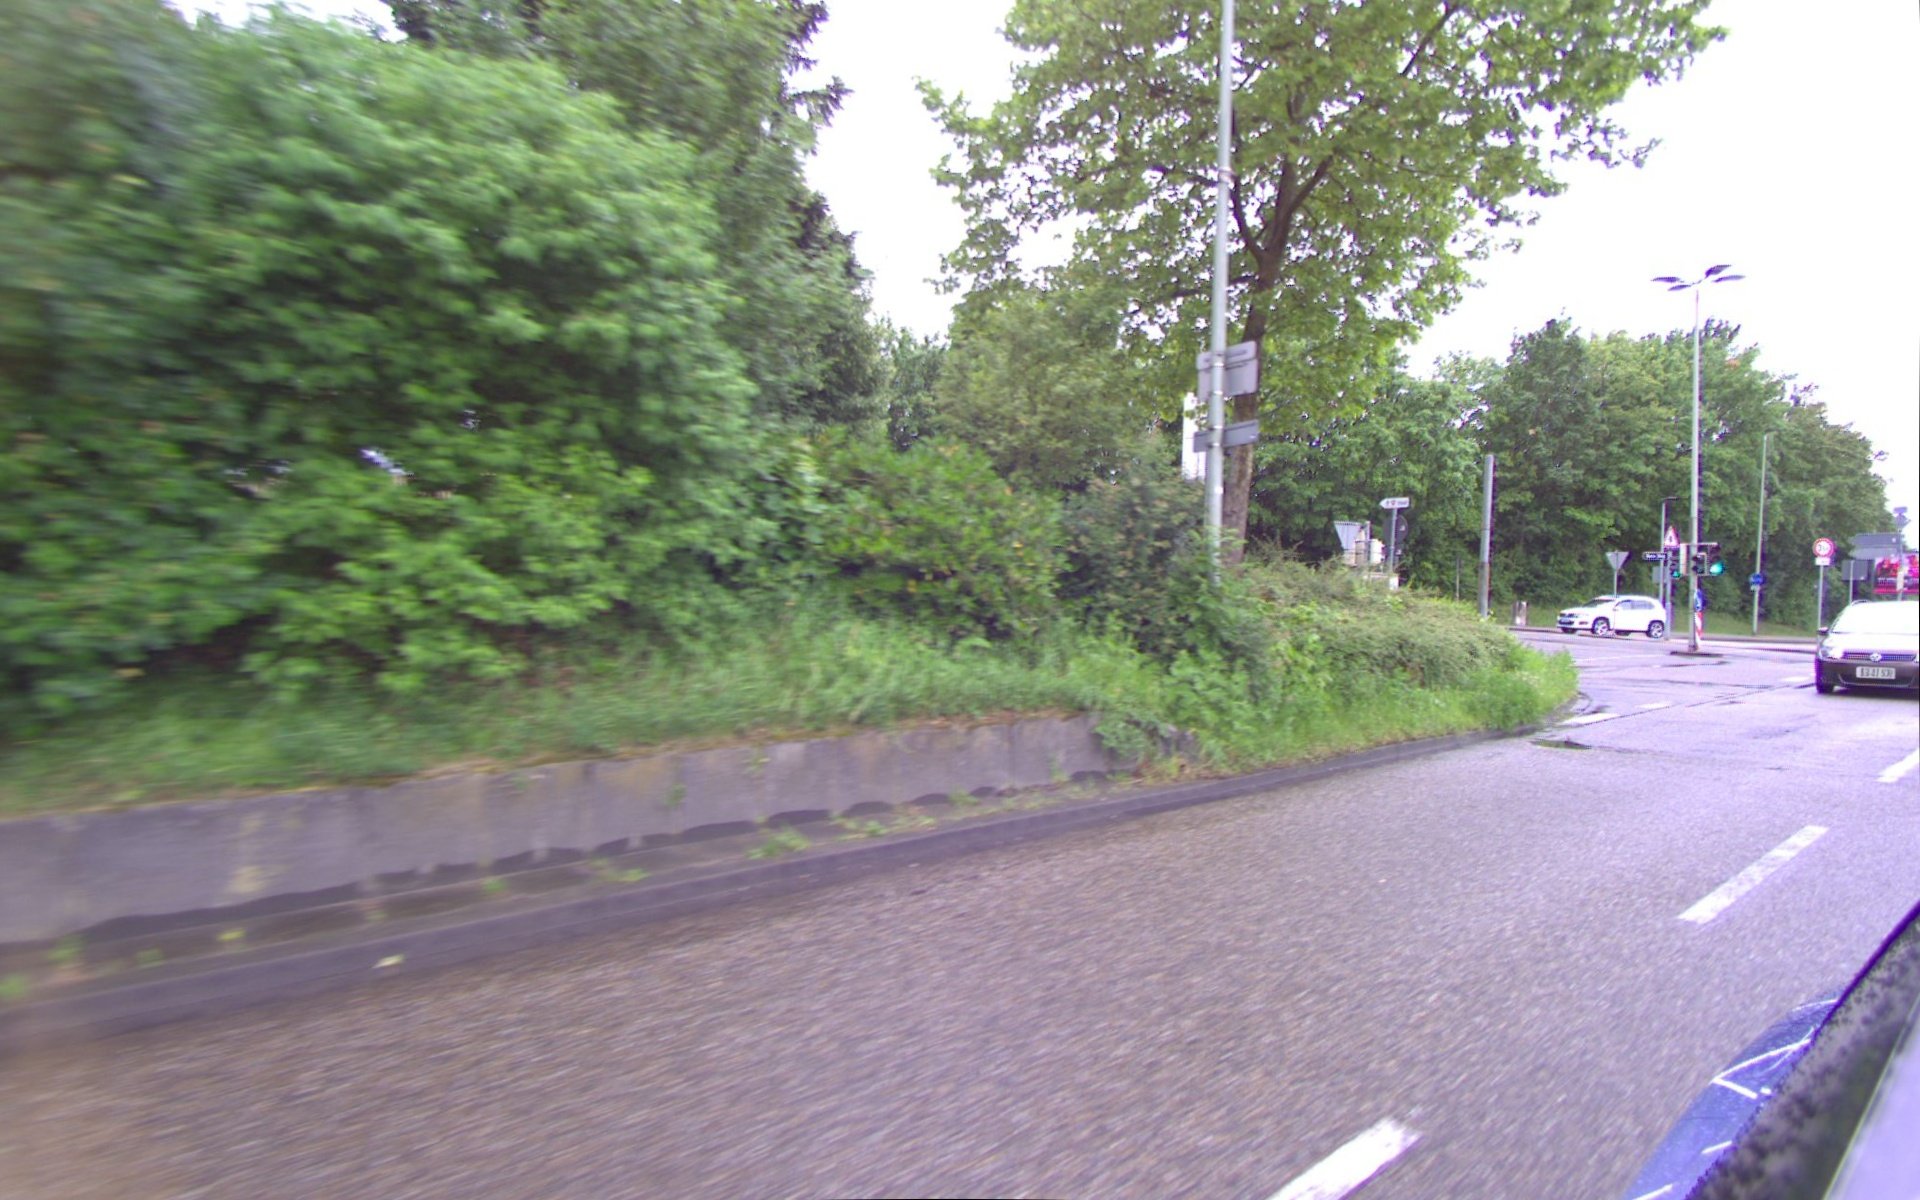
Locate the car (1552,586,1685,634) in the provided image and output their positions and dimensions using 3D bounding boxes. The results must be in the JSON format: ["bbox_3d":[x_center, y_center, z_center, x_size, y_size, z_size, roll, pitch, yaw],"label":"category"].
[{"bbox_3d":[27.008,0.404,41.595,4.229,1.749,2.003,2,0,-7],"label":"car"}]

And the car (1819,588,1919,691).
[{"bbox_3d":[16.561,0.662,17.661,3.909,1.629,1.751,1,0,-40],"label":"car"}]
